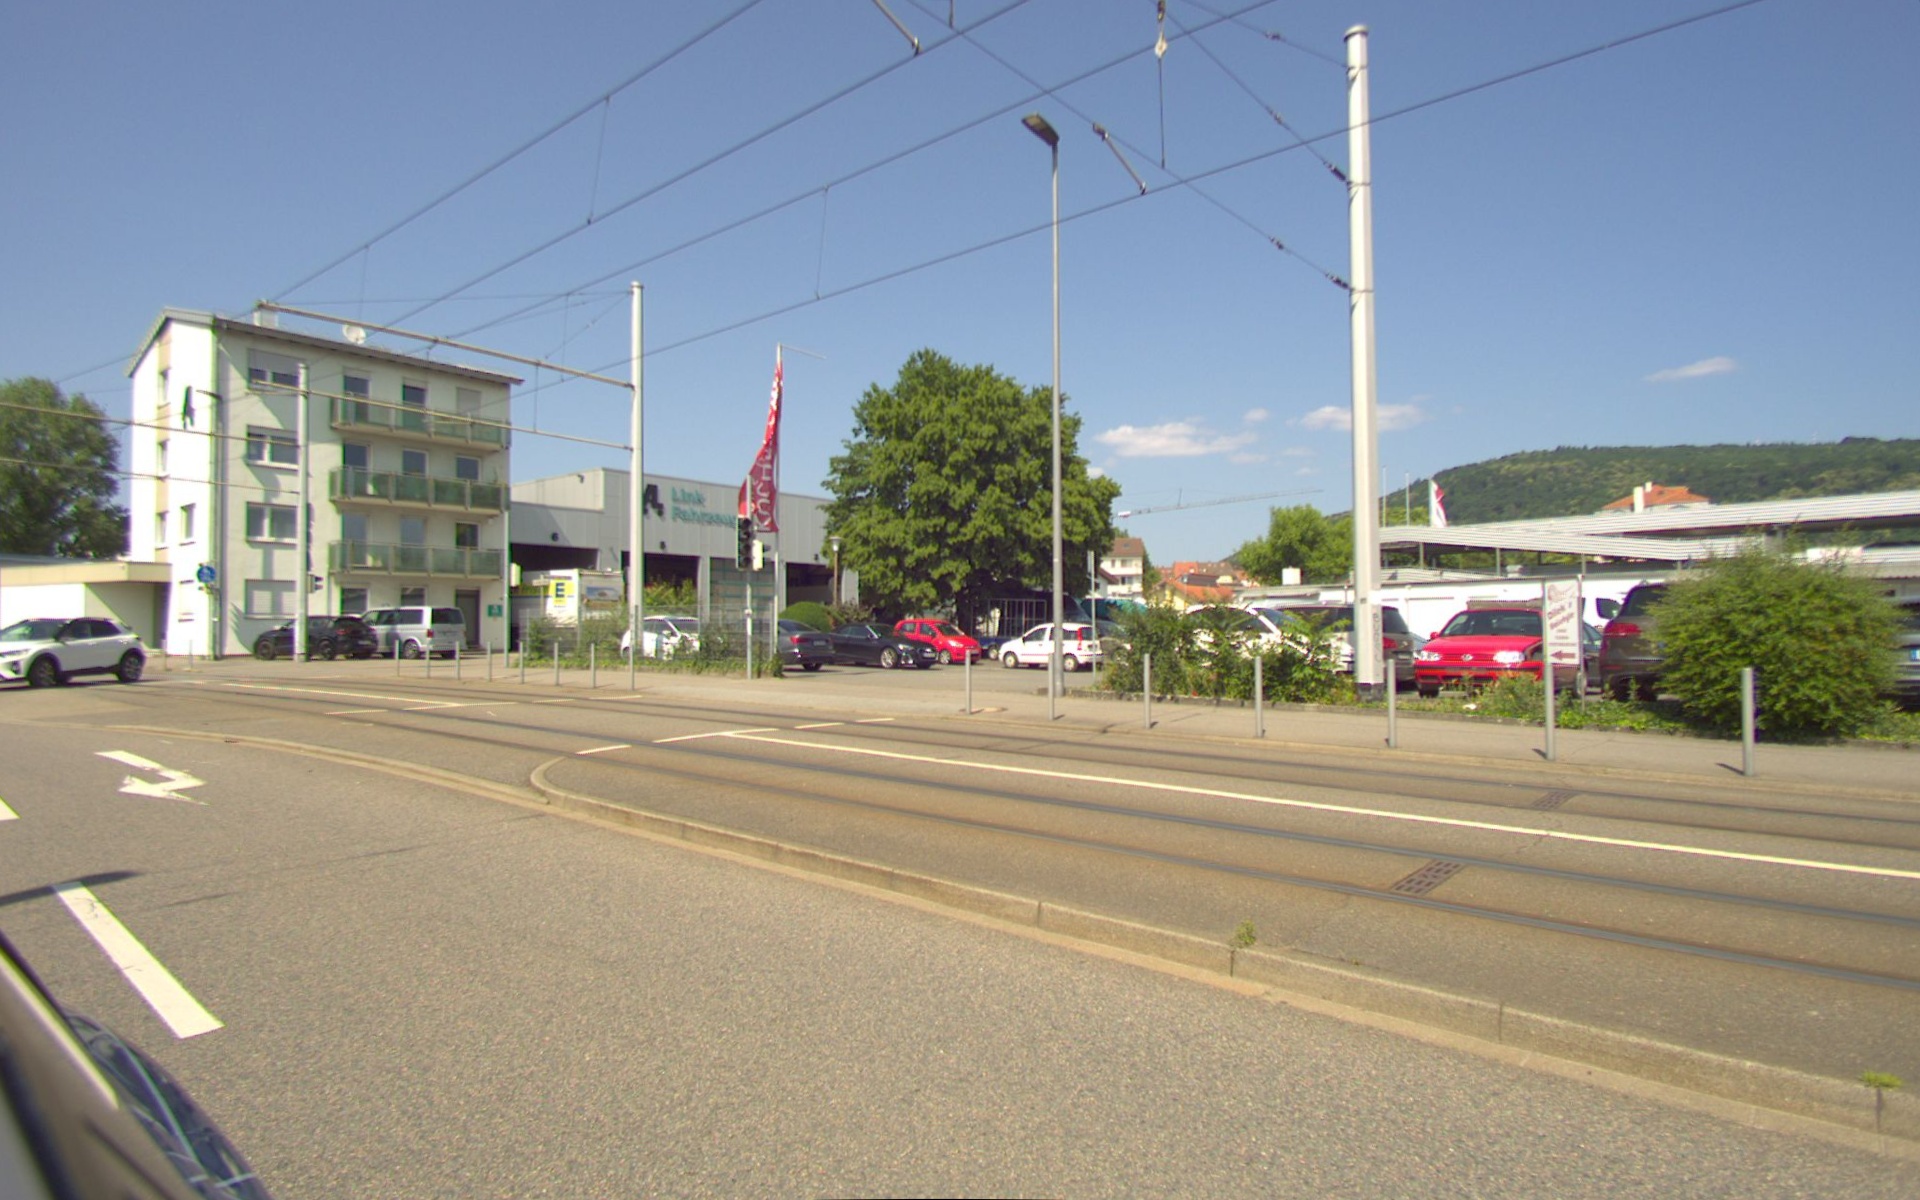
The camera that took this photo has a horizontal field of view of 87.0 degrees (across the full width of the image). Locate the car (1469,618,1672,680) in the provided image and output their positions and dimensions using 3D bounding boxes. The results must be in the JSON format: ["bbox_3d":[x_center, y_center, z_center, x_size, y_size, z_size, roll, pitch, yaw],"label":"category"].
[{"bbox_3d":[16.806,1.325,28.021,1.961,1.569,4.430,2,-3,-42],"label":"car"}]

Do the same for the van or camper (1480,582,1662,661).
[{"bbox_3d":[19.337,0.698,32.183,1.755,2.323,4.605,1,-2,-45],"label":"van or camper"}]

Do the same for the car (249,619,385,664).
[{"bbox_3d":[-22.619,1.456,35.636,3.935,1.532,1.872,-1,-2,14],"label":"car"}]

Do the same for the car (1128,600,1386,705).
[{"bbox_3d":[4.879,0.839,17.000,1.714,1.553,3.841,1,-2,-42],"label":"car"}]

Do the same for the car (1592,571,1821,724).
[{"bbox_3d":[10.050,0.582,13.516,2.000,1.719,3.943,-2,-2,43],"label":"car"}]

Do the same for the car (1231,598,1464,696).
[{"bbox_3d":[7.841,0.927,20.749,1.969,1.798,4.006,1,-2,-41],"label":"car"}]

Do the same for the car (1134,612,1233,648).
[{"bbox_3d":[10.170,1.365,46.178,3.997,1.567,1.973,-2,-2,41],"label":"car"}]

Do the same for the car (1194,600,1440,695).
[{"bbox_3d":[6.551,0.855,18.899,1.828,1.580,3.940,1,-2,-41],"label":"car"}]

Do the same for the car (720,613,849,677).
[{"bbox_3d":[-4.931,1.236,28.122,1.742,1.633,3.841,0,-2,-42],"label":"car"}]

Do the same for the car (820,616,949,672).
[{"bbox_3d":[-2.375,1.345,31.579,3.832,1.633,1.832,-2,-3,39],"label":"car"}]

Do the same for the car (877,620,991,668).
[{"bbox_3d":[-0.966,1.561,36.249,3.832,1.605,1.832,-2,-2,39],"label":"car"}]

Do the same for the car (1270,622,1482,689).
[{"bbox_3d":[9.231,1.190,22.687,1.818,1.369,4.006,1,-2,-41],"label":"car"}]

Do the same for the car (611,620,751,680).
[{"bbox_3d":[-7.433,1.259,26.803,3.952,1.444,1.690,-1,-1,41],"label":"car"}]

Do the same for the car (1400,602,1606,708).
[{"bbox_3d":[8.202,0.762,15.148,1.749,1.381,3.780,-2,-2,44],"label":"car"}]

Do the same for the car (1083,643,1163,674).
[{"bbox_3d":[5.389,1.926,33.485,2.314,0.953,1.273,-2,-2,39],"label":"car"}]

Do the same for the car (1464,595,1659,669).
[{"bbox_3d":[17.821,0.957,30.132,2.027,2.029,4.585,1,-2,-43],"label":"car"}]

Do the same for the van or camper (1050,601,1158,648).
[{"bbox_3d":[6.452,1.119,45.666,1.970,2.023,4.648,1,-2,-43],"label":"van or camper"}]

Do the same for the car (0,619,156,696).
[{"bbox_3d":[-20.149,1.212,22.261,1.712,1.542,4.110,0,-2,-2],"label":"car"}]

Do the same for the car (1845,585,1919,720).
[{"bbox_3d":[11.570,0.647,11.804,1.545,1.433,3.356,-2,-5,36],"label":"car"}]

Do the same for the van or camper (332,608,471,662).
[{"bbox_3d":[-20.837,1.307,37.785,4.519,1.922,1.988,0,-2,19],"label":"van or camper"}]

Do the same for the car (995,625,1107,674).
[{"bbox_3d":[2.934,1.588,33.062,3.385,1.496,1.498,-2,-2,38],"label":"car"}]

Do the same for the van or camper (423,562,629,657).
[{"bbox_3d":[-20.747,0.605,47.883,11.596,3.721,2.751,-4,-3,31],"label":"van or camper"}]

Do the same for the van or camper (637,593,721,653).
[{"bbox_3d":[-16.000,1.357,57.479,5.050,3.230,1.975,-2,-2,37],"label":"van or camper"}]

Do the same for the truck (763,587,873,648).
[{"bbox_3d":[-9.432,1.206,66.819,7.854,3.810,2.590,-1,-2,40],"label":"truck"}]
